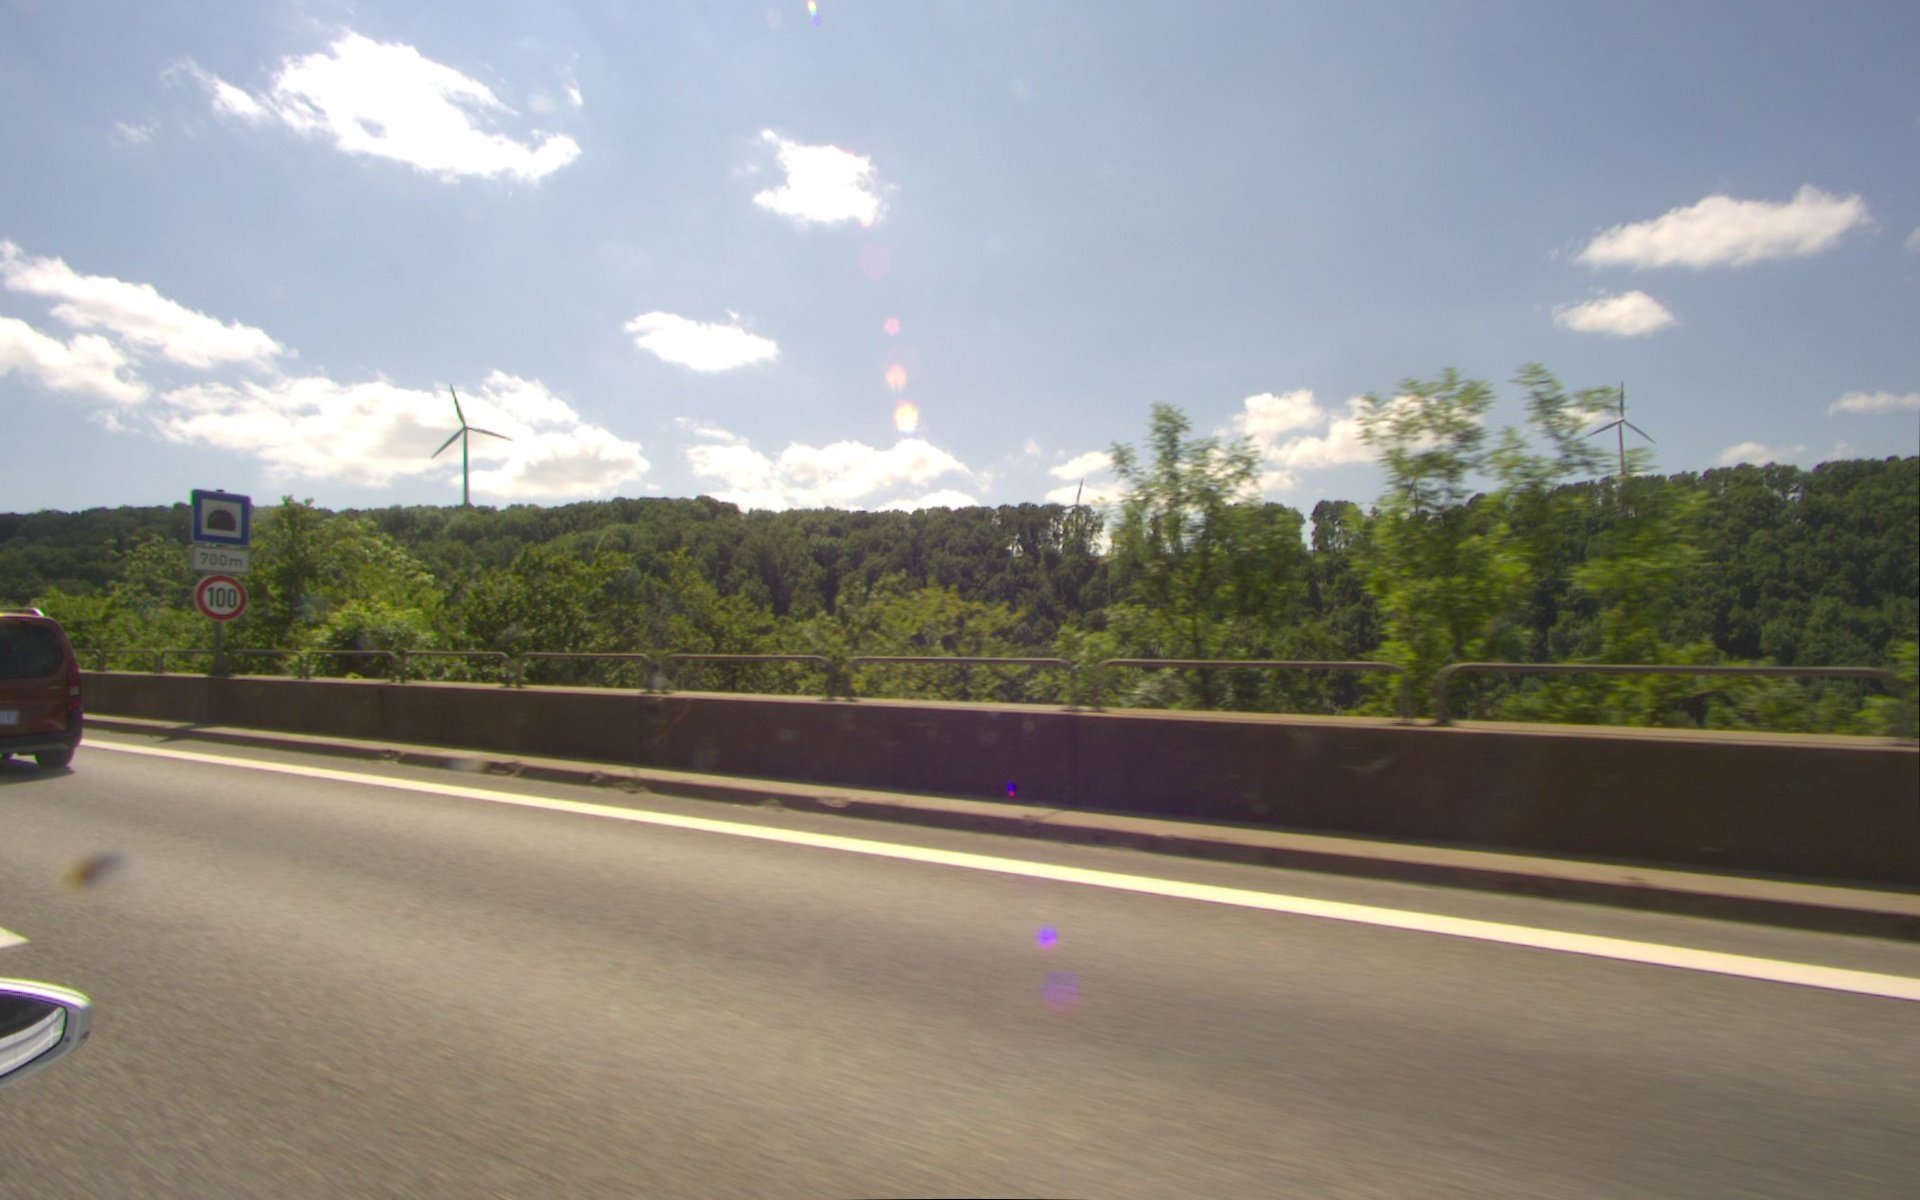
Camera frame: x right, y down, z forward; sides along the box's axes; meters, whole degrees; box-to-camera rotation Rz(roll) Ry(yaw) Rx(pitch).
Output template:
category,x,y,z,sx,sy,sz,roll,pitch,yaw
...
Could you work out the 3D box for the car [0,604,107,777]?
category,x,y,z,sx,sy,sz,roll,pitch,yaw
car,-12.029,1.017,11.699,4.609,1.807,1.830,-2,-1,32
